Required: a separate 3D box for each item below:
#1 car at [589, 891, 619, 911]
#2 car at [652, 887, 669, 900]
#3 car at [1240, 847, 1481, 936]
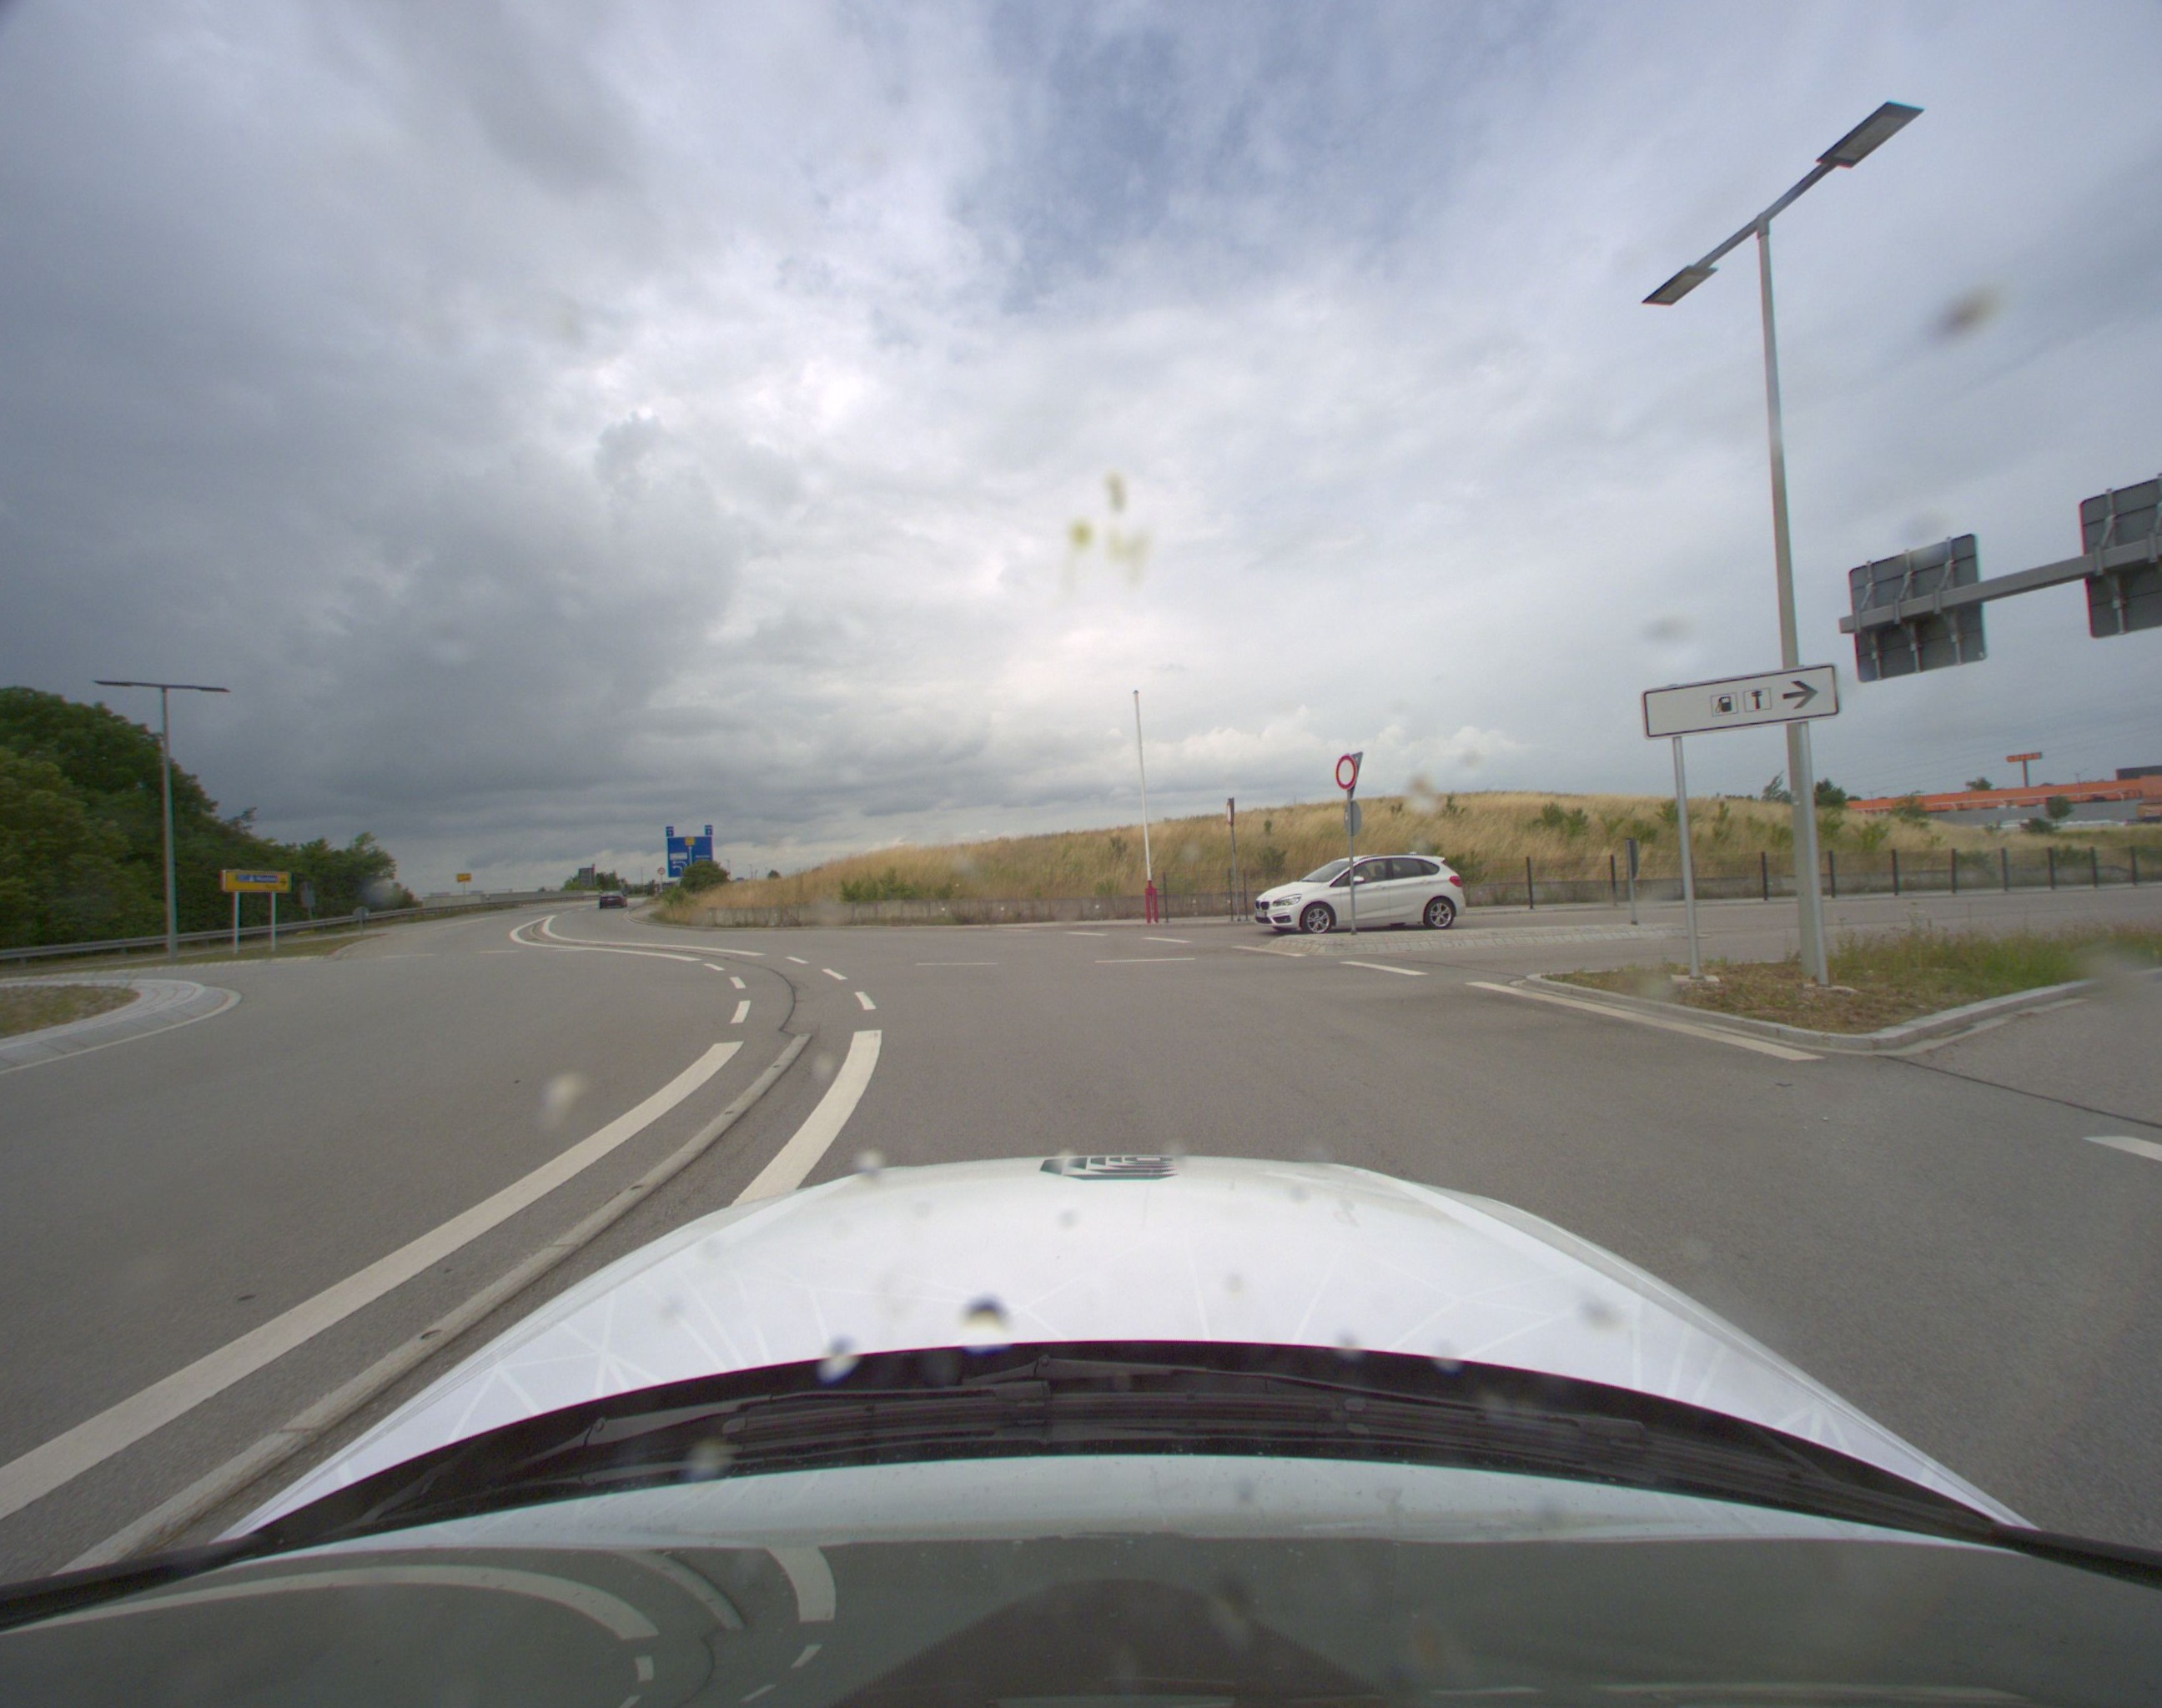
[{"bbox_3d":[-36.962,3.635,63.194,1.525,1.485,3.587,-2,-2,-23],"label":"car"},{"bbox_3d":[-55.664,5.205,107.790,1.605,1.548,4.015,-4,1,-23],"label":"car"},{"bbox_3d":[5.723,0.729,16.919,4.412,1.629,1.778,-1,-1,-9],"label":"car"}]
